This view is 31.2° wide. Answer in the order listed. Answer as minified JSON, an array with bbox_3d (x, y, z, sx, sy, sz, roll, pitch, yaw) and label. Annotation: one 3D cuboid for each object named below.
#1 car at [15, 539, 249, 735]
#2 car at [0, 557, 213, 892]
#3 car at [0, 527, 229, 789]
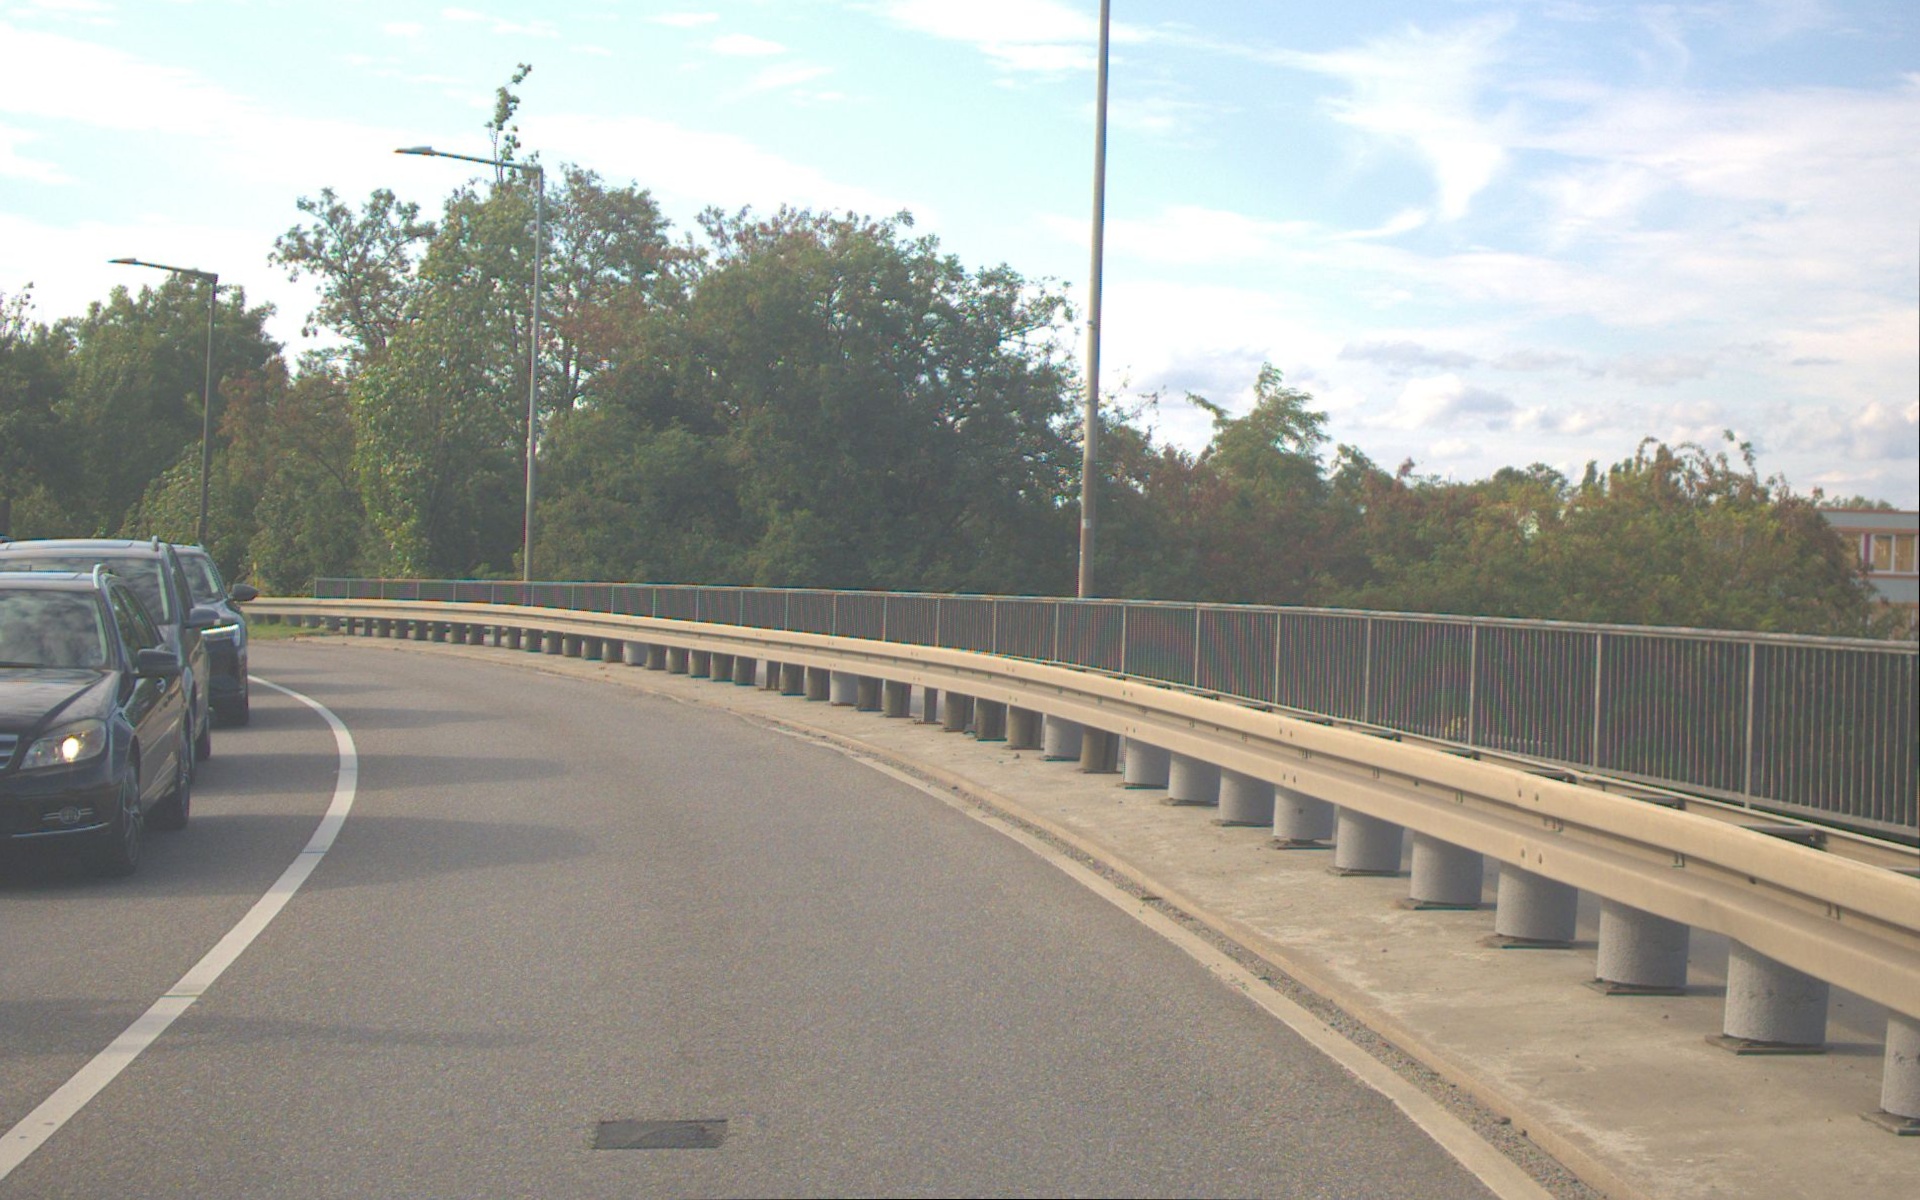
[{"bbox_3d":[-7.541,0.280,31.623,1.925,1.643,4.590,-1,1,-12],"label":"car"},{"bbox_3d":[-4.857,0.528,17.281,1.832,1.460,4.519,-1,1,-8],"label":"car"},{"bbox_3d":[-6.029,0.341,23.964,1.681,1.643,4.299,-1,1,-10],"label":"car"}]
